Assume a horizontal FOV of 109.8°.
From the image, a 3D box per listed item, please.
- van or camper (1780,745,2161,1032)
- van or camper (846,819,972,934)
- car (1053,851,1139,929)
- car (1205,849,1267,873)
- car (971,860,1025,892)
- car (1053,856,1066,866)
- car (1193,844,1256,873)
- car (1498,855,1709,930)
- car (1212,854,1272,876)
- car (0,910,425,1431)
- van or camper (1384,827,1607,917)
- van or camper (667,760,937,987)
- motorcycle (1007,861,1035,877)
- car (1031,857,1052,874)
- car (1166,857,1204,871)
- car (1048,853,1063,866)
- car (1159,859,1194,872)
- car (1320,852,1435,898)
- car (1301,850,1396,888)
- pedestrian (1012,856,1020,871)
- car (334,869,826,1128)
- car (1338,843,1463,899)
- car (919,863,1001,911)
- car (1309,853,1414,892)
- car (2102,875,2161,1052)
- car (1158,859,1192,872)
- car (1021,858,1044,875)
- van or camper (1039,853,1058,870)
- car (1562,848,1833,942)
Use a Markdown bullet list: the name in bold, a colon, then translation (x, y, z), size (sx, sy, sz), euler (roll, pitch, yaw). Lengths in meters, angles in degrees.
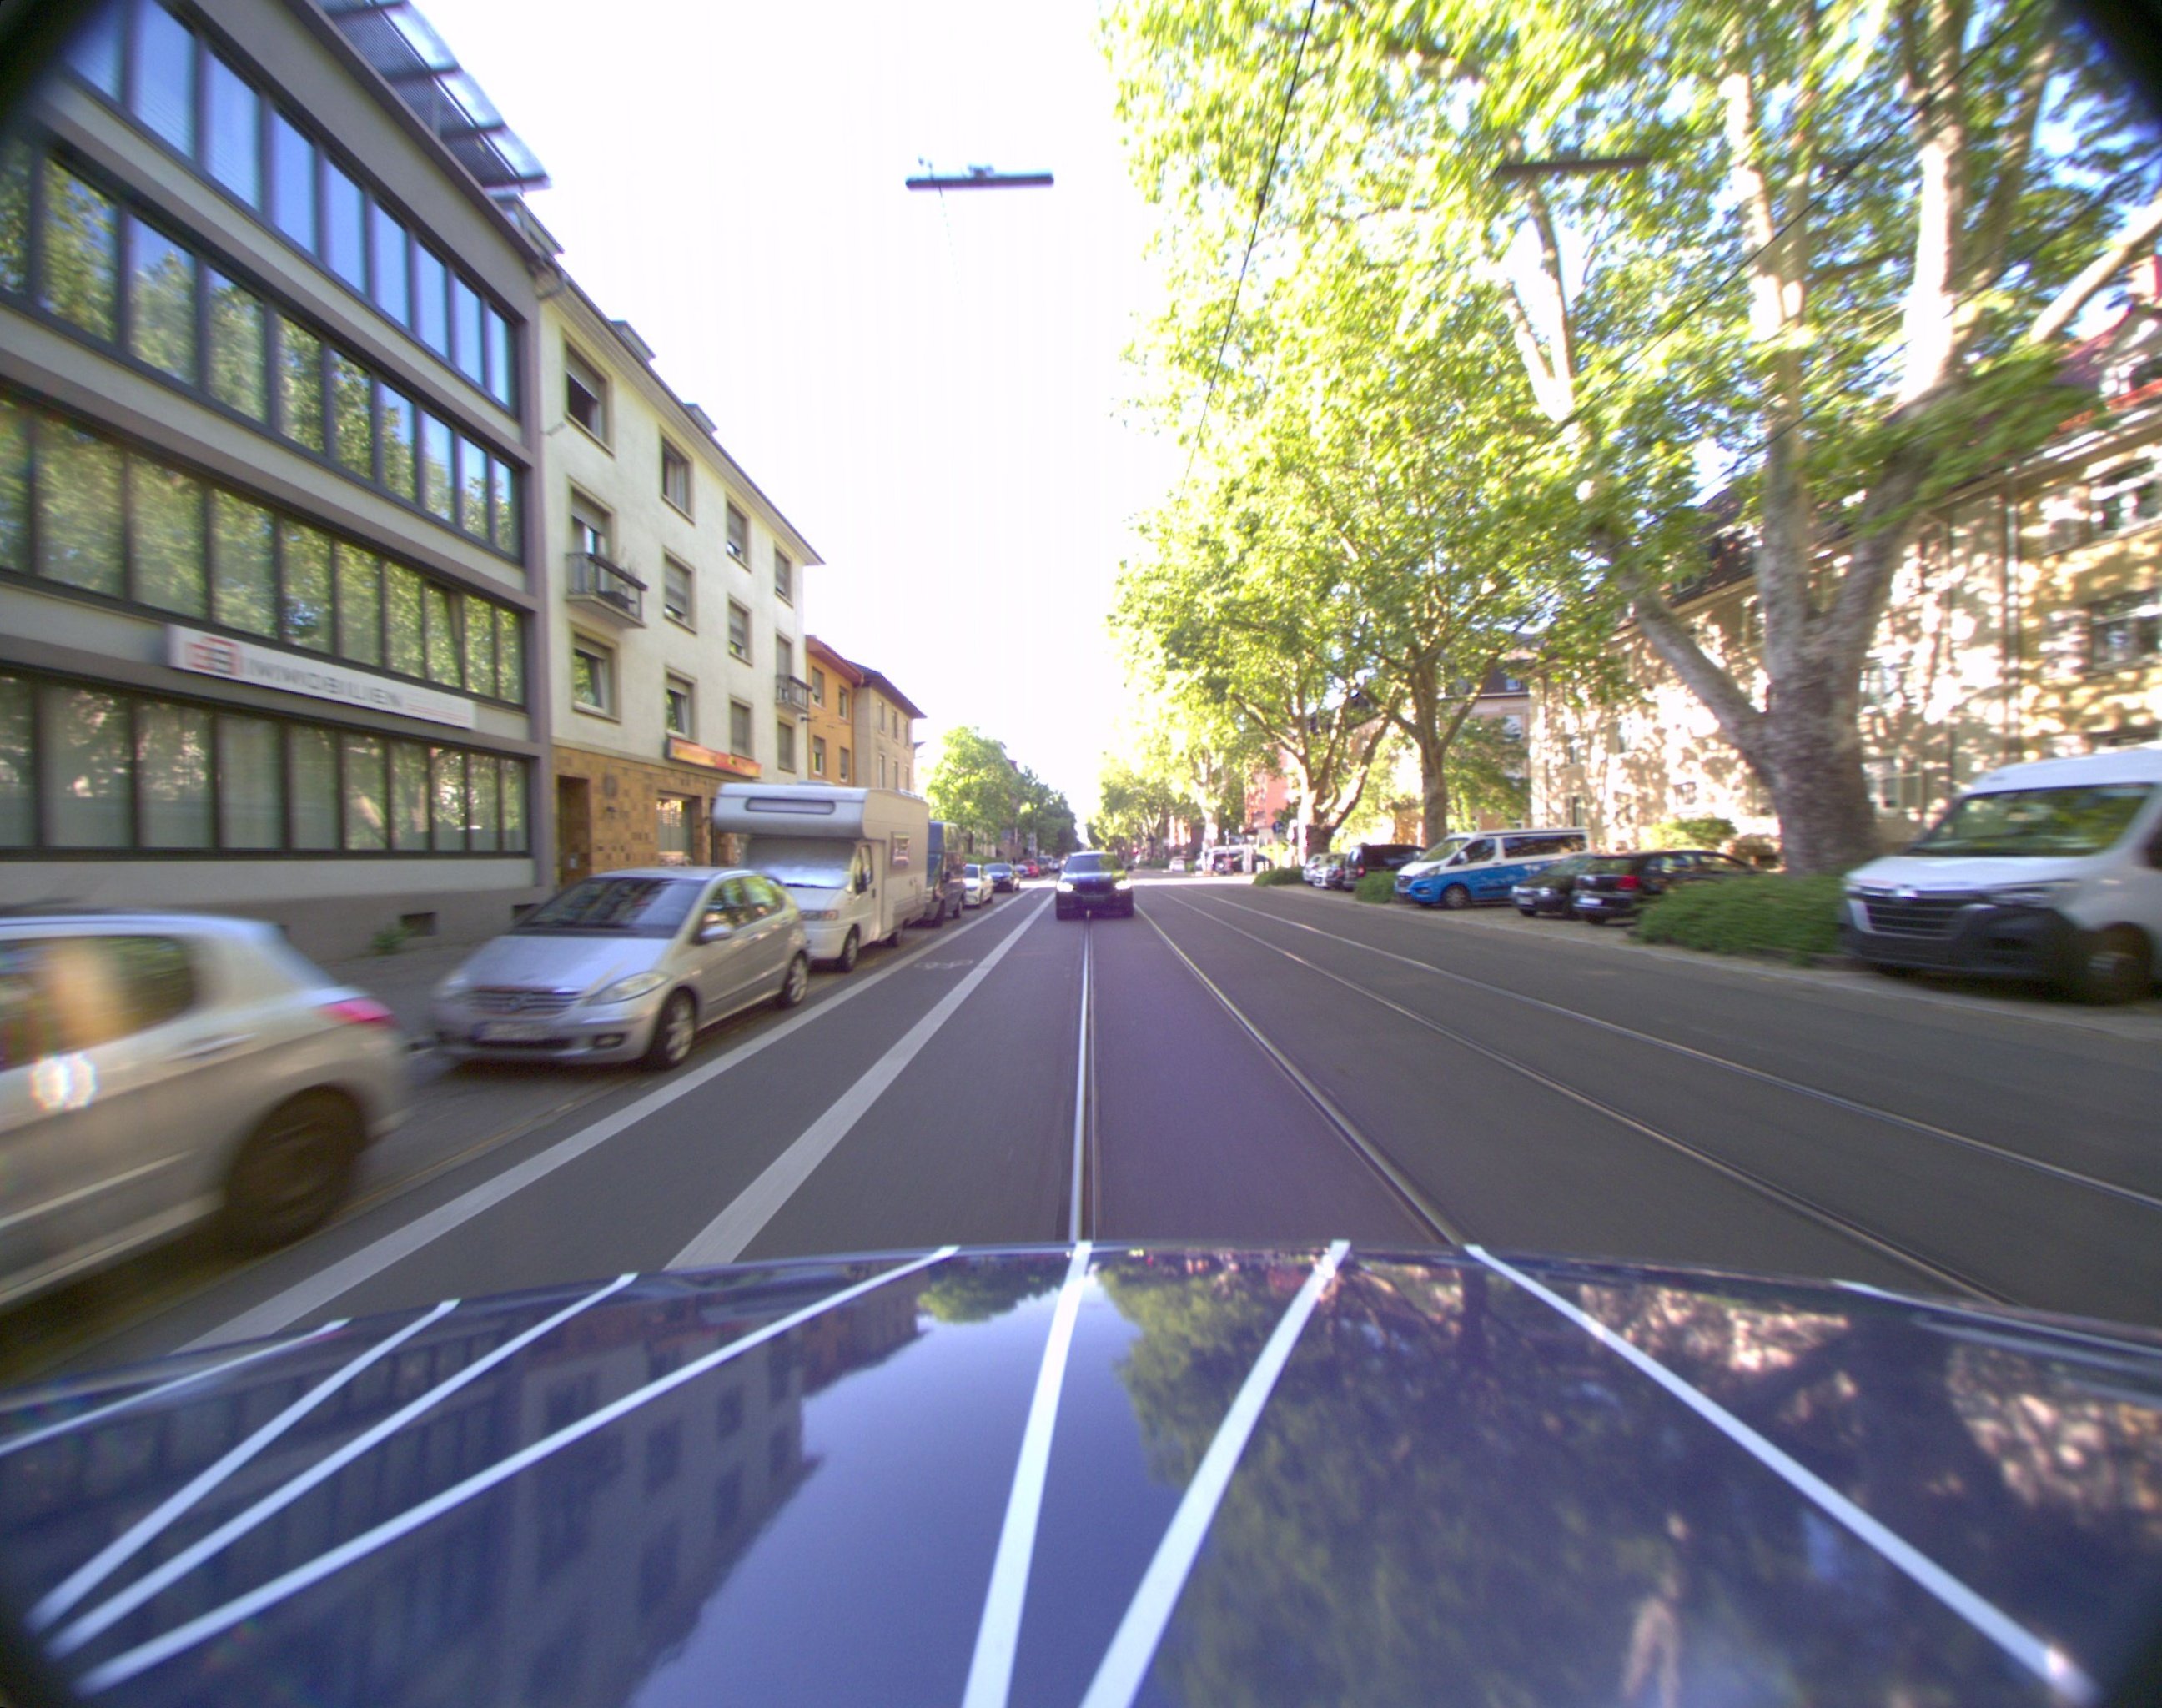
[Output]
- **van or camper**: translation (11.111, 0.241, 7.864), size (5.402, 2.501, 2.445), euler (-2, 0, 2)
- **van or camper**: translation (-4.344, 0.520, 20.111), size (2.137, 2.647, 4.979), euler (1, 0, 1)
- **car**: translation (0.377, 0.838, 19.982), size (1.924, 1.741, 4.806), euler (-2, 0, 1)
- **car**: translation (12.274, 0.540, 60.470), size (4.464, 1.755, 2.028), euler (-2, 0, -1)
- **car**: translation (-3.967, 1.038, 37.061), size (1.998, 1.372, 4.740), euler (1, 0, 1)
- **car**: translation (-3.238, 1.060, 117.178), size (1.781, 1.489, 4.372), euler (1, 0, 1)
- **car**: translation (12.491, 0.413, 66.372), size (5.019, 2.383, 2.028), euler (-2, 0, -1)
- **car**: translation (11.367, 0.796, 16.658), size (3.540, 1.451, 1.695), euler (-2, 0, -5)
- **car**: translation (12.208, 0.836, 57.817), size (4.170, 1.506, 1.925), euler (-2, 0, -1)
- **car**: translation (-4.308, 1.062, 1.790), size (1.793, 1.513, 4.322), euler (1, 0, 0)
- **van or camper**: translation (11.058, 0.460, 20.567), size (4.832, 2.177, 2.119), euler (-2, 0, 0)
- **van or camper**: translation (-4.392, 0.269, 13.462), size (2.468, 3.046, 6.267), euler (1, 0, 0)
- **motorcycle**: translation (-4.693, 1.156, 59.757), size (2.071, 1.152, 0.828), euler (1, 1, 4)
- **car**: translation (-3.744, 1.081, 72.627), size (1.694, 1.478, 4.143), euler (1, 0, 1)
- **car**: translation (11.649, 1.124, 85.118), size (3.966, 1.506, 1.810), euler (-2, 0, -1)
- **car**: translation (-3.411, 0.686, 102.886), size (1.815, 1.701, 4.372), euler (1, 0, 1)
- **car**: translation (11.669, 1.391, 92.876), size (3.966, 1.506, 1.810), euler (-2, 0, -1)
- **car**: translation (11.400, 0.790, 29.349), size (3.692, 1.615, 1.799), euler (-2, 0, -4)
- **car**: translation (11.897, 0.671, 33.930), size (3.689, 1.545, 1.704), euler (-2, 0, 6)
- **pedestrian**: translation (-7.652, 1.092, 88.878), size (0.813, 1.668, 0.885), euler (-2, 1, 1)
- **car**: translation (-4.068, 1.010, 7.214), size (1.797, 1.618, 4.276), euler (1, 0, 1)
- **car**: translation (11.277, 0.594, 26.998), size (3.691, 1.804, 1.704), euler (-2, 0, 0)
- **car**: translation (-4.167, 1.094, 26.940), size (1.998, 1.485, 4.740), euler (1, 0, 1)
- **car**: translation (11.564, 0.750, 31.491), size (3.693, 1.477, 1.701), euler (-2, 0, -6)
- **car**: translation (10.679, 0.849, 5.447), size (4.274, 1.390, 1.753), euler (-1, 0, 1)
- **car**: translation (11.713, 1.413, 95.151), size (3.966, 1.506, 1.810), euler (-2, 0, -1)
- **car**: translation (-4.018, 1.023, 63.290), size (1.607, 1.372, 3.864), euler (1, 0, 1)
- **van or camper**: translation (-3.710, 0.838, 87.145), size (1.882, 1.873, 4.923), euler (1, 0, 1)
- **car**: translation (11.361, 0.732, 14.191), size (3.690, 1.556, 1.613), euler (-2, 0, 2)
